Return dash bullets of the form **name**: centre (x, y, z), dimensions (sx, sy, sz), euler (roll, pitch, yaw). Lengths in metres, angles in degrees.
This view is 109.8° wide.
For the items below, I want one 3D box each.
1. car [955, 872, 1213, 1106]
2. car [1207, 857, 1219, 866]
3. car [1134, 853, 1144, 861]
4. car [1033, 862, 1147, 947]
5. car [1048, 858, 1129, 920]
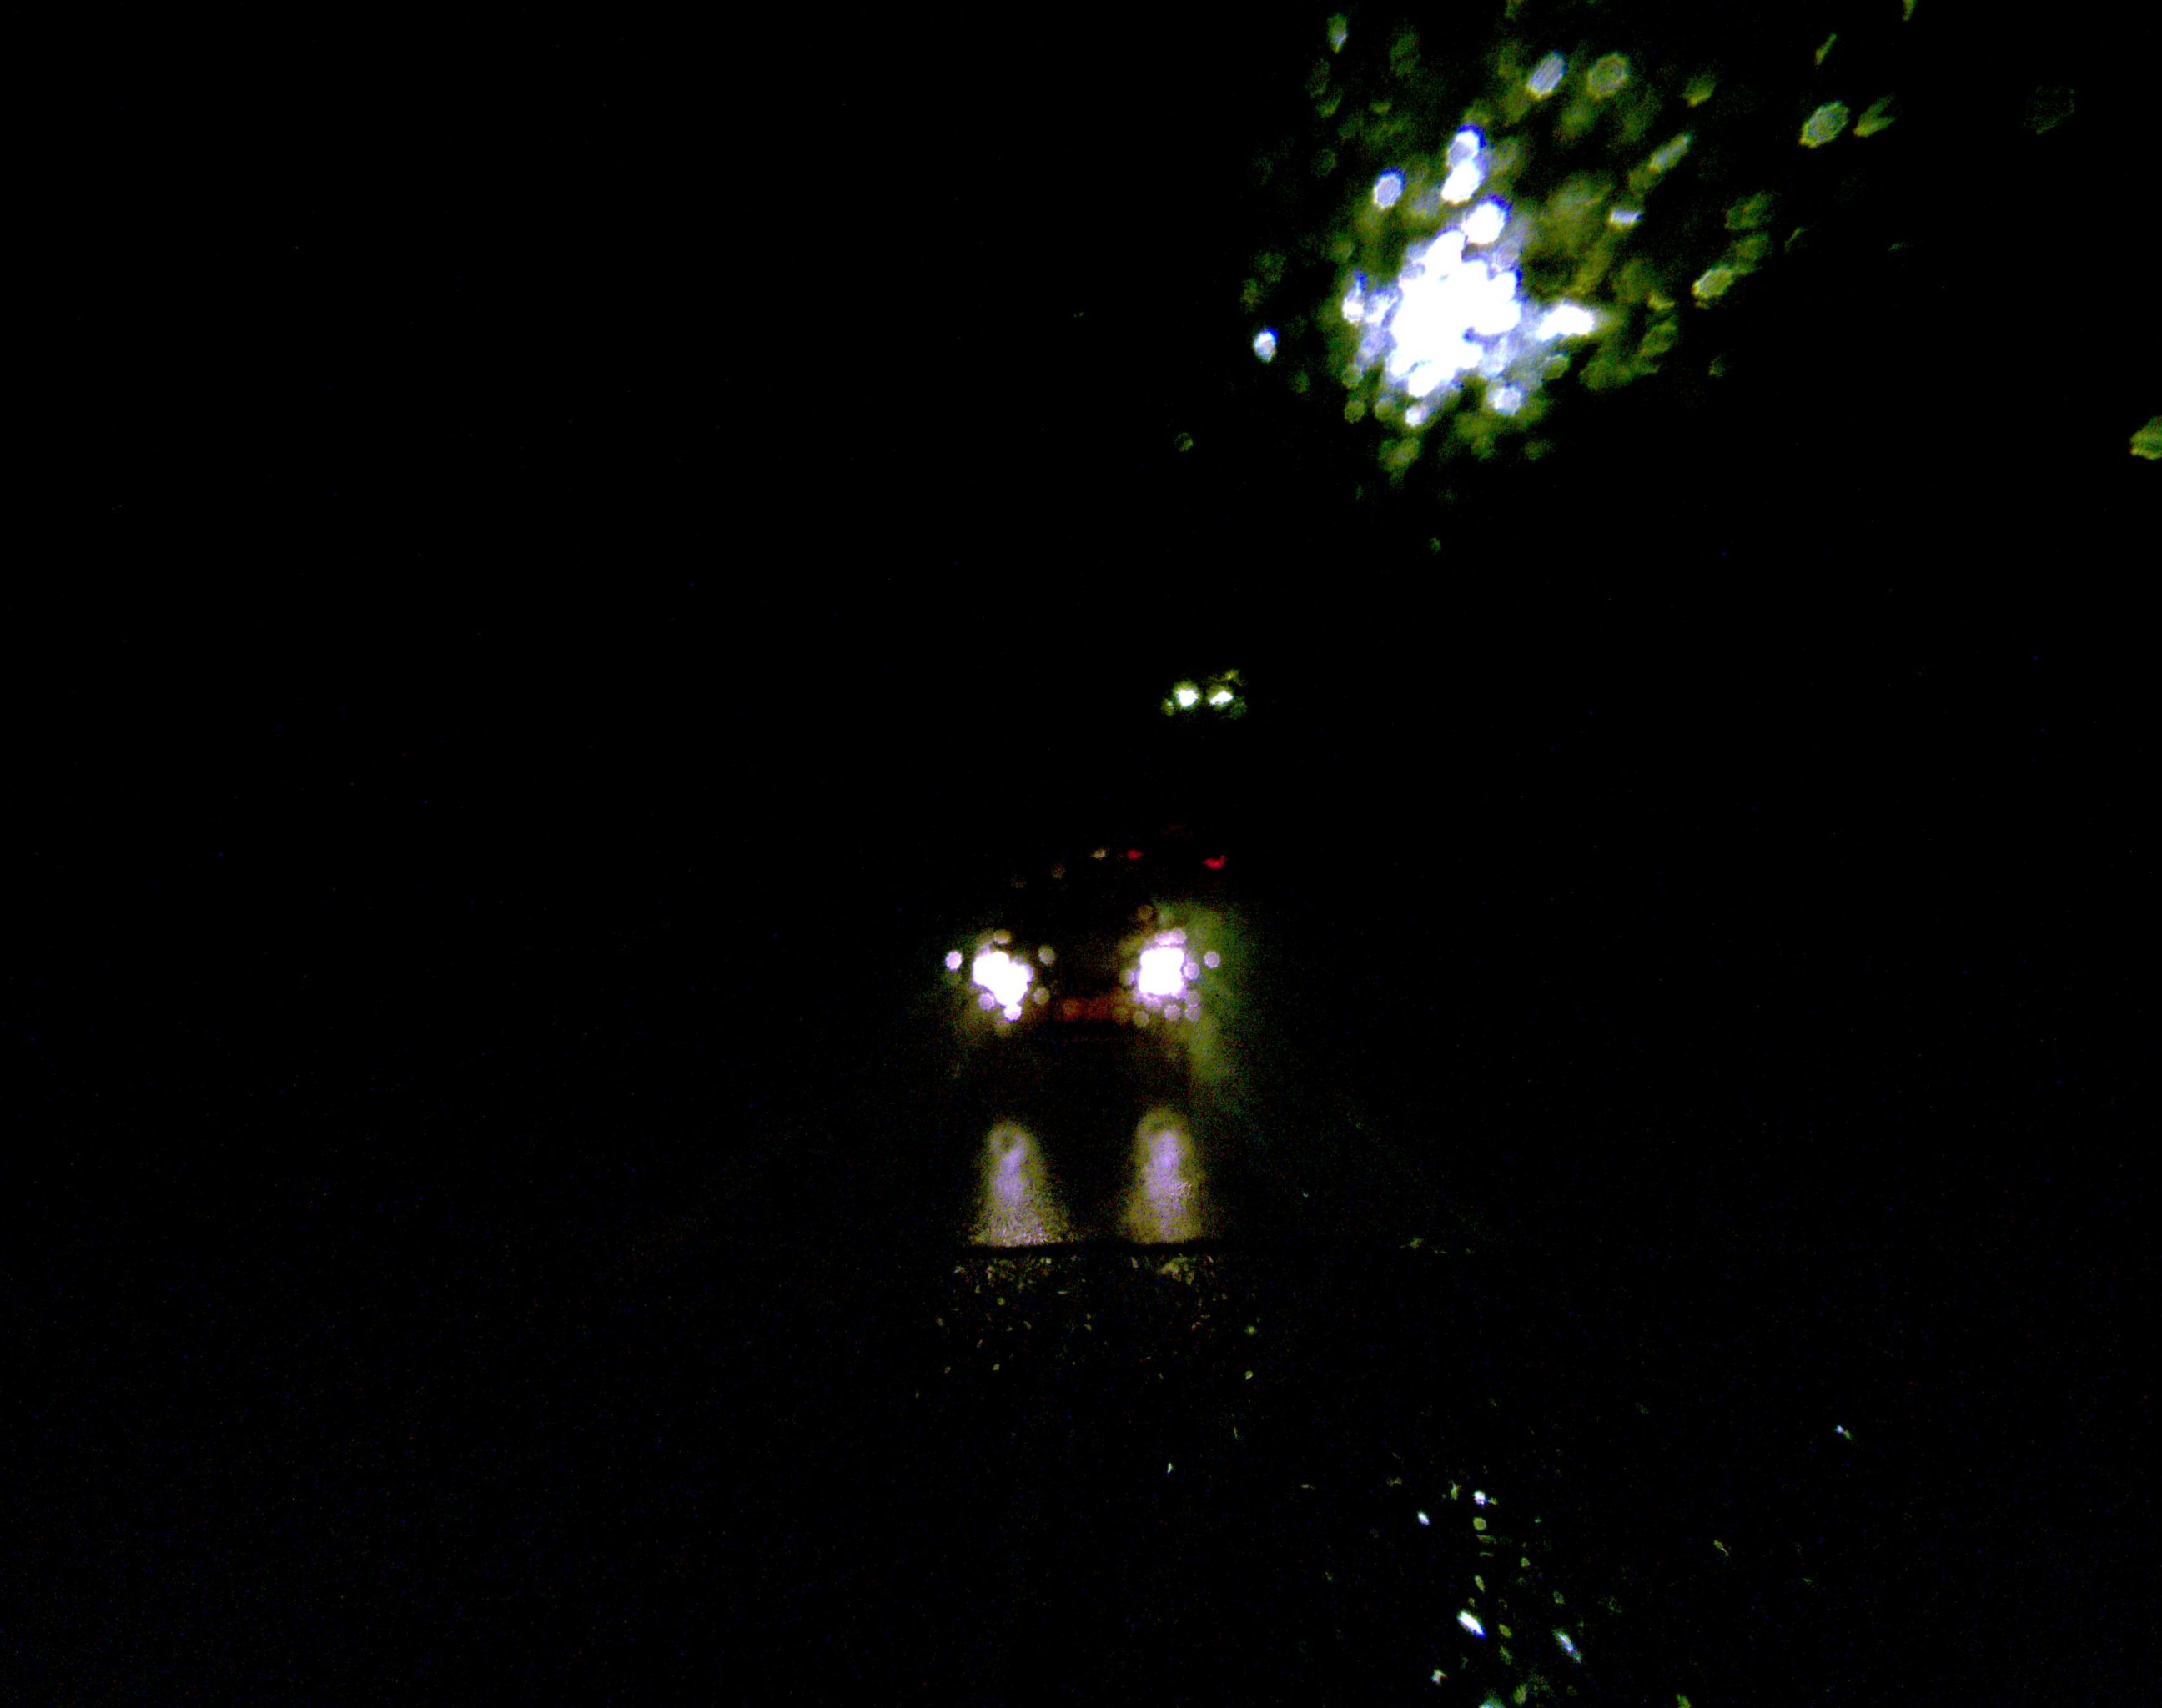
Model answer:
- **car**: centre (0.047, 0.994, 7.321), dimensions (1.764, 1.492, 4.000), euler (-2, 0, 1)
- **car**: centre (25.988, 1.421, 149.552), dimensions (1.866, 1.637, 4.001), euler (-2, 0, 3)
- **car**: centre (12.681, 0.584, 167.156), dimensions (1.788, 1.637, 4.000), euler (-2, 0, 0)
- **car**: centre (0.190, 0.917, 15.530), dimensions (1.998, 1.455, 4.000), euler (-1, 0, 1)
- **car**: centre (0.221, 0.888, 21.160), dimensions (1.998, 1.531, 4.000), euler (-1, 0, 1)
